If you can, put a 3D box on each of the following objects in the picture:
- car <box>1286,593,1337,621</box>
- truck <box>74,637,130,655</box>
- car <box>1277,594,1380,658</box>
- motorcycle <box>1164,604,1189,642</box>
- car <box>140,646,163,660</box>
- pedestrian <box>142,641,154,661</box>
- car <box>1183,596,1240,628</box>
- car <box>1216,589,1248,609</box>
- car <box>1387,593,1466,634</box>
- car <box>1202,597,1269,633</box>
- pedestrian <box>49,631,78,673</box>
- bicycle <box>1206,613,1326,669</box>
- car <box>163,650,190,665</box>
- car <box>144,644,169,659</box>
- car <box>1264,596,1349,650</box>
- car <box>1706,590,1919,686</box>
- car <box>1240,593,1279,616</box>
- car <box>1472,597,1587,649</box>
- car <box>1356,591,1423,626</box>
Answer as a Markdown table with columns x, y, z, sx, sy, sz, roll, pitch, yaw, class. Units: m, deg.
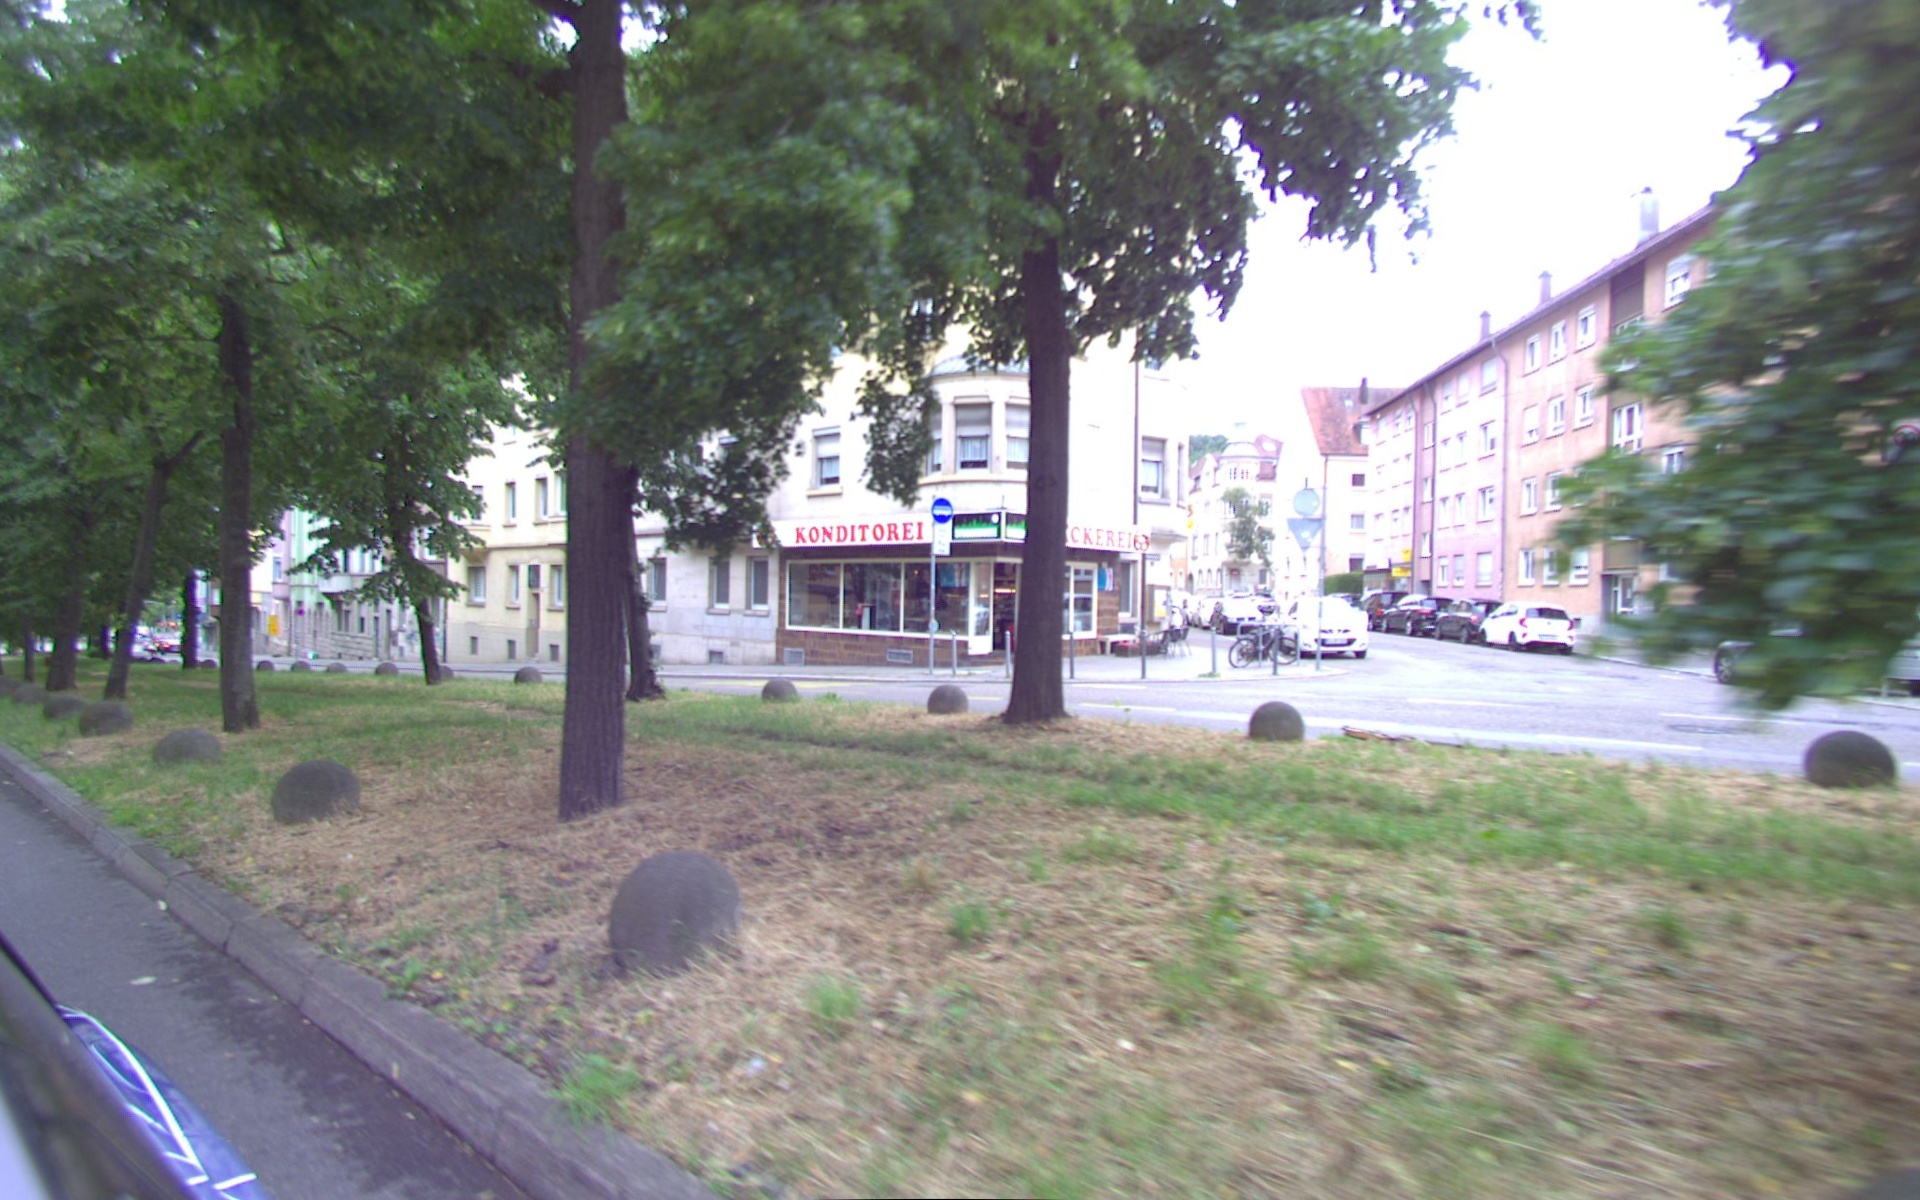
| x | y | z | sx | sy | sz | roll | pitch | yaw | class |
| --- | --- | --- | --- | --- | --- | --- | --- | --- | --- |
| 19.525 | 0.427 | 56.383 | 1.773 | 1.490 | 3.893 | 0 | -1 | 5 | car |
| -137.647 | 7.316 | 162.398 | 2.746 | 2.744 | 6.426 | -2 | -2 | 14 | truck |
| 9.460 | 0.652 | 26.273 | 1.801 | 1.523 | 3.756 | 0 | -1 | 9 | car |
| 7.064 | 0.746 | 33.132 | 0.523 | 1.165 | 2.522 | 0 | 0 | 6 | motorcycle |
| -86.095 | 5.628 | 107.689 | 1.687 | 1.393 | 4.674 | 2 | -4 | -41 | car |
| -59.574 | 3.730 | 74.249 | 0.690 | 1.471 | 0.705 | -1 | -2 | -41 | pedestrian |
| 11.716 | 0.550 | 47.368 | 1.753 | 1.412 | 3.804 | -1 | 0 | 1 | car |
| 21.329 | -0.044 | 79.443 | 1.773 | 1.490 | 3.893 | 0 | -1 | 5 | car |
| 18.179 | 0.547 | 39.600 | 1.775 | 1.490 | 3.889 | 0 | -1 | 9 | car |
| 11.263 | 0.590 | 41.659 | 1.753 | 1.412 | 3.804 | -1 | 0 | 1 | car |
| -38.184 | 2.207 | 43.102 | 0.823 | 1.725 | 1.124 | 5 | -3 | -42 | pedestrian |
| 6.535 | 0.858 | 21.617 | 2.417 | 1.054 | 0.871 | -2 | 1 | -22 | bicycle |
| -73.505 | 5.388 | 94.919 | 1.736 | 1.393 | 4.674 | 2 | -4 | -41 | car |
| -91.187 | 5.805 | 114.866 | 1.794 | 1.649 | 4.684 | 3 | -3 | -43 | car |
| 10.524 | 0.697 | 30.982 | 1.801 | 1.523 | 3.756 | 0 | -1 | 9 | car |
| 15.283 | 0.706 | 17.760 | 1.801 | 1.490 | 4.030 | 0 | -3 | 9 | car |
| 20.380 | 0.339 | 68.948 | 1.773 | 1.490 | 3.893 | 0 | -1 | 5 | car |
| 17.349 | 0.709 | 31.059 | 1.775 | 1.490 | 3.889 | 0 | -1 | 9 | car |
| 19.018 | 0.398 | 44.973 | 1.775 | 1.490 | 3.889 | 0 | -1 | 9 | car |
